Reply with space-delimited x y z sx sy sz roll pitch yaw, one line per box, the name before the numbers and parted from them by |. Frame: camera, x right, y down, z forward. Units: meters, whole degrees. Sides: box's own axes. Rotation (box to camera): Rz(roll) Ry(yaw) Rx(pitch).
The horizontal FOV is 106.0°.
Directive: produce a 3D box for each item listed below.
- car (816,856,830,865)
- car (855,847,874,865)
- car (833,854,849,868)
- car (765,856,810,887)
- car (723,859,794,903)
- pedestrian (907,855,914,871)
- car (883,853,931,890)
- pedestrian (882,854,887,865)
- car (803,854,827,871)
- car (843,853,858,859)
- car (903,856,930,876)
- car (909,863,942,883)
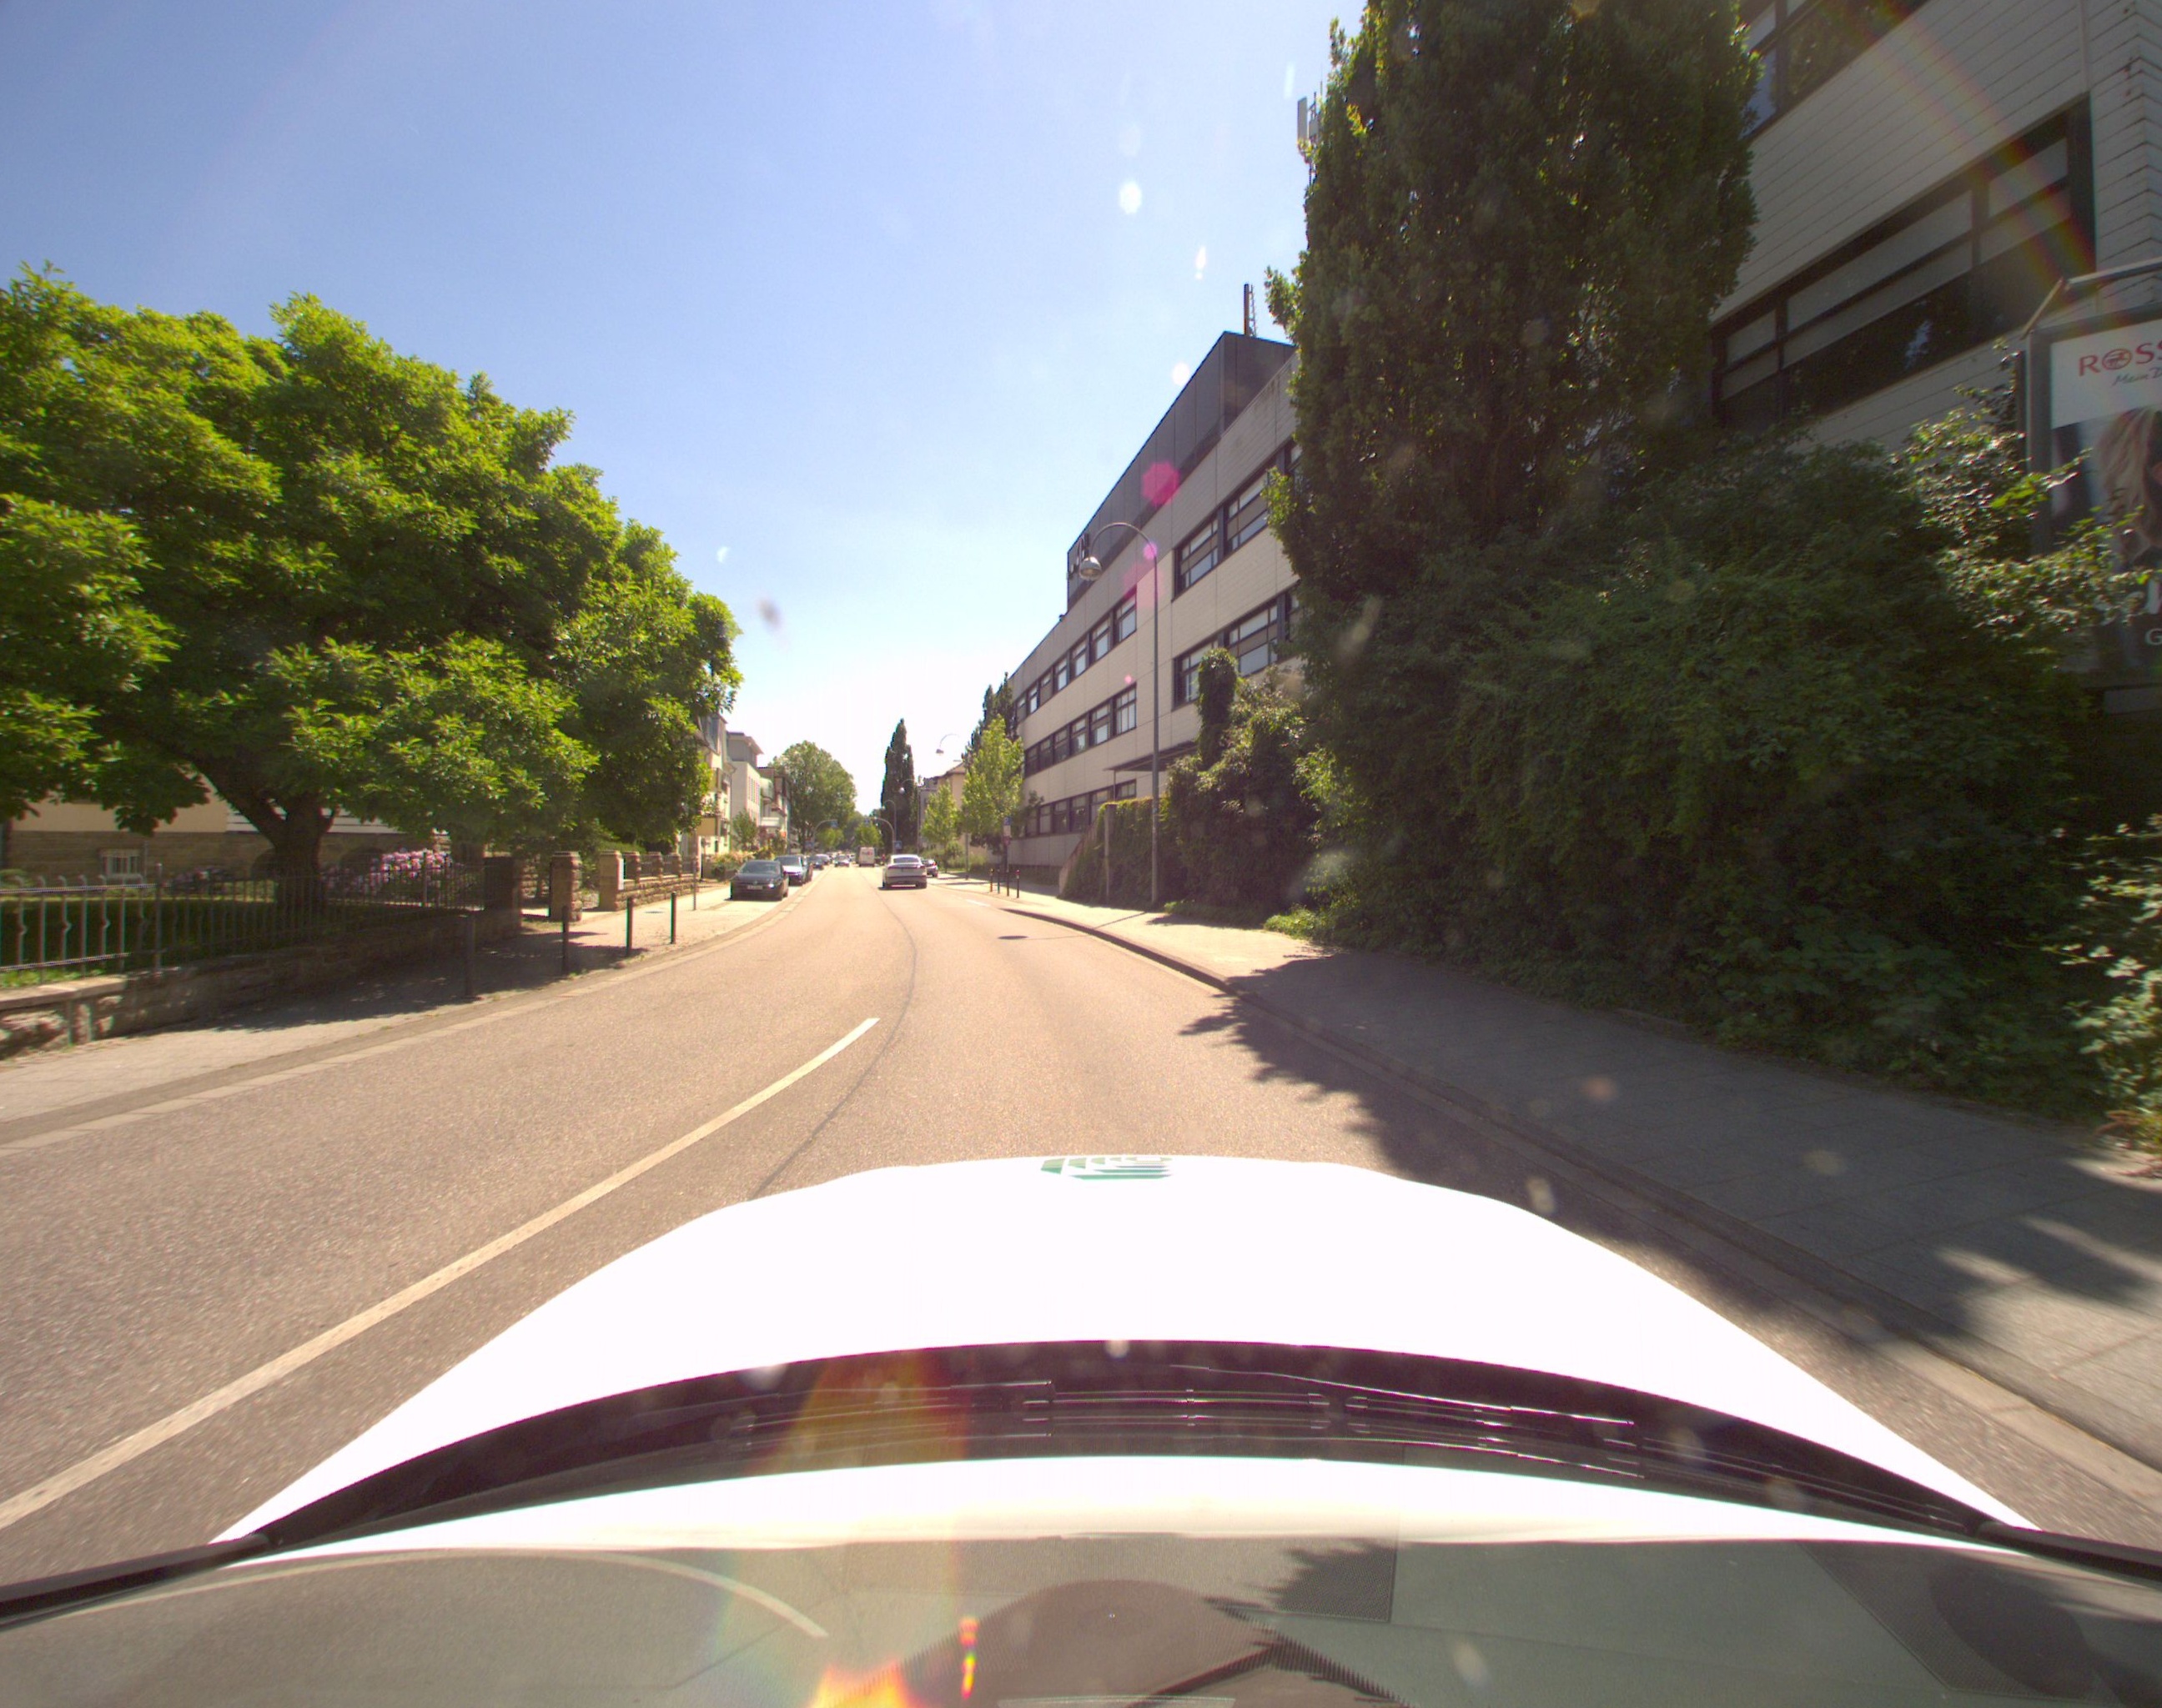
car | -37.866 0.961 119.609 1.999 1.349 3.977 -1 0 -17
car | -28.482 0.286 107.090 2.075 2.197 5.107 -2 0 -18
car | -31.068 0.915 105.350 1.979 1.670 4.445 -1 0 -17
car | -16.088 0.936 44.773 1.930 1.573 4.634 2 -1 -16
car | -12.033 0.967 30.663 1.930 1.436 4.634 2 -1 -16
pedestrian | -18.633 0.994 88.814 0.639 1.758 0.612 0 0 -21
car | -8.587 0.801 39.896 1.940 1.614 4.448 -3 1 -16
pedestrian | -33.448 0.925 138.838 0.696 1.736 0.663 -1 0 -21
car | -28.415 0.861 87.042 1.927 1.720 4.453 0 0 -12
car | -67.761 0.567 239.407 3.987 1.651 1.993 -1 0 -10
car | -13.410 0.959 66.242 1.663 1.488 4.320 -2 0 -17
car | -11.633 1.380 60.864 1.868 1.373 3.974 -1 0 -19
